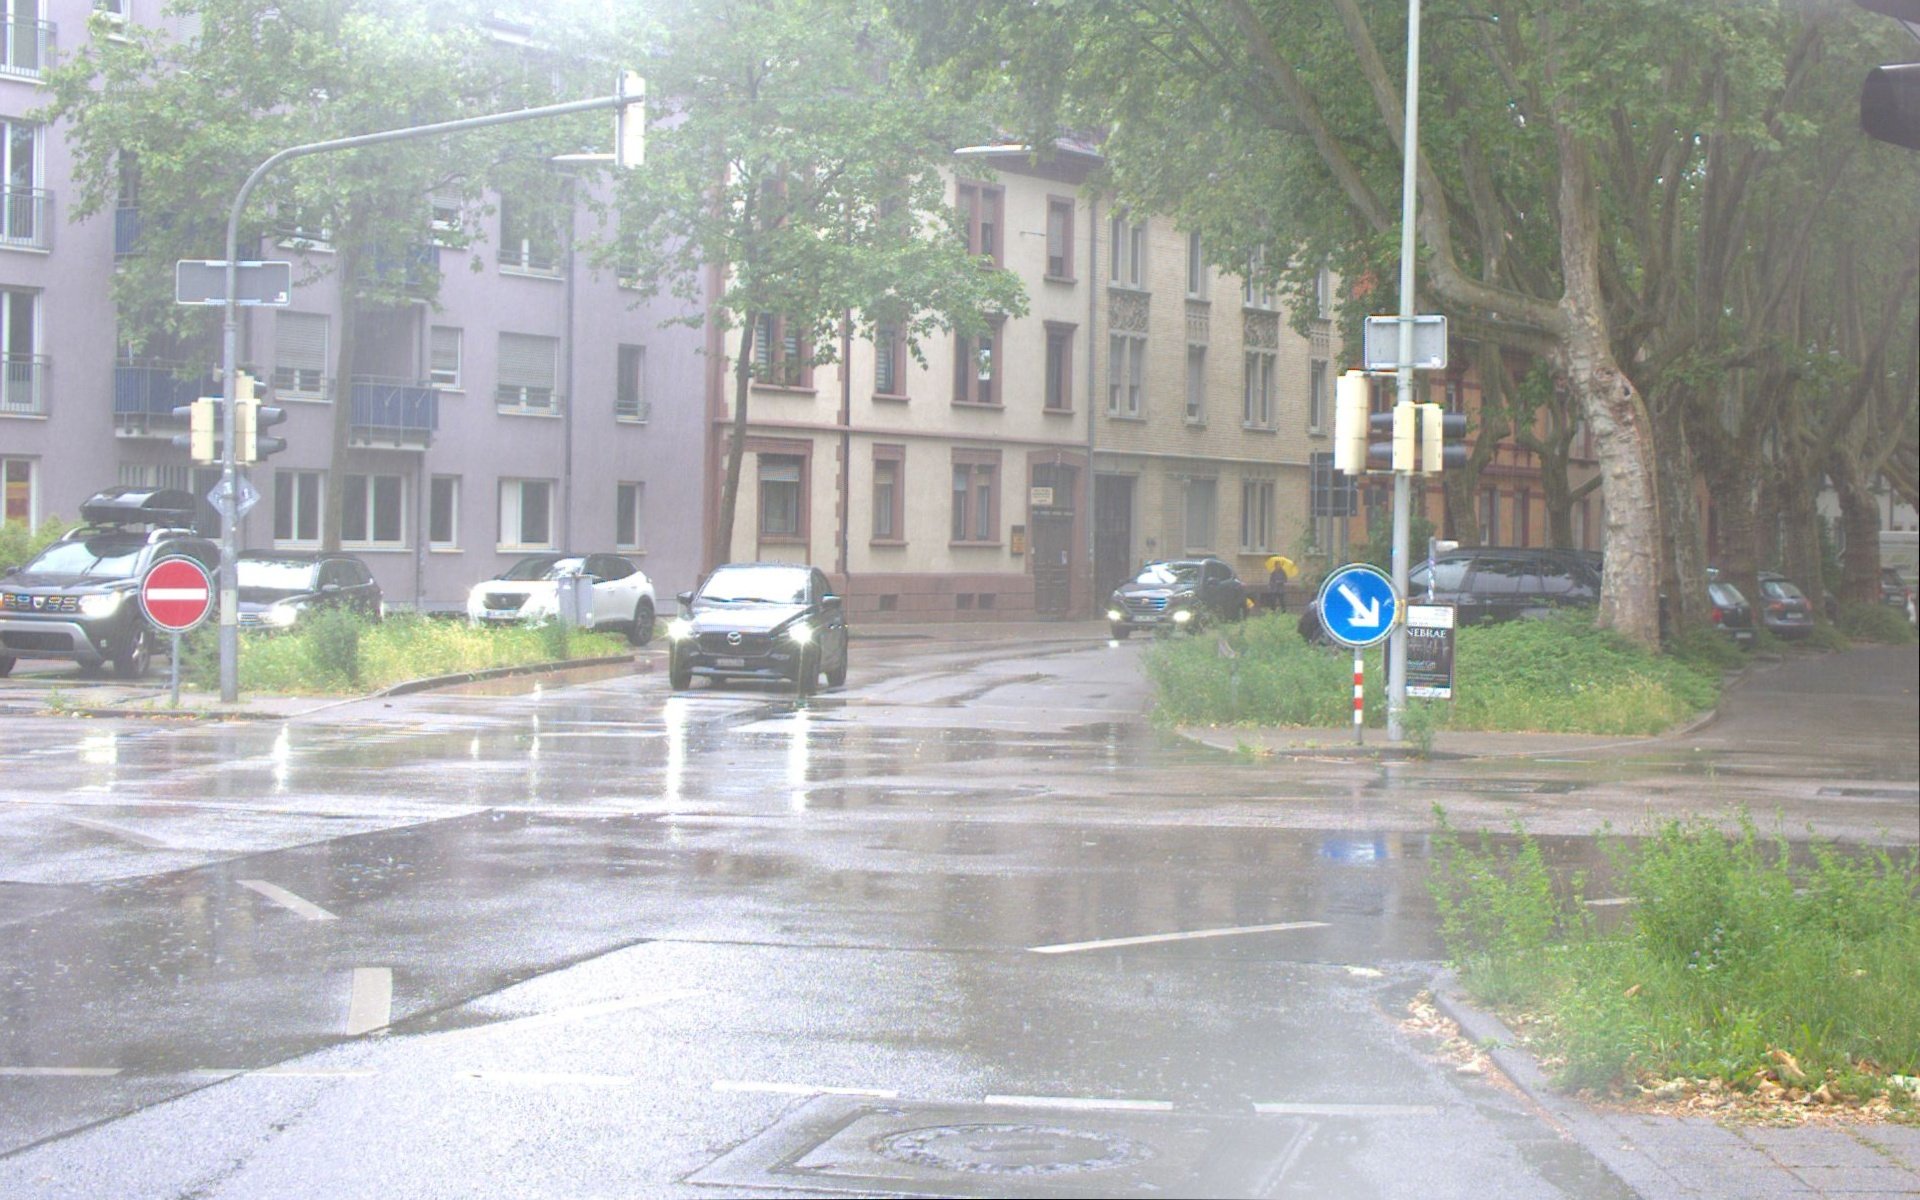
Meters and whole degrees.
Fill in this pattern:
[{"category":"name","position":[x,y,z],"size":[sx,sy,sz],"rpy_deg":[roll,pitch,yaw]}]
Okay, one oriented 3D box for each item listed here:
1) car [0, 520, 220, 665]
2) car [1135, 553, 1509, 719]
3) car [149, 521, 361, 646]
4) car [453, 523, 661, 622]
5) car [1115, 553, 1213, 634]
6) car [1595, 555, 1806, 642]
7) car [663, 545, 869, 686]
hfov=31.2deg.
[{"category":"car","position":[-9.751,-0.114,38.795],"size":[1.725,1.547,3.559],"rpy_deg":[-1,1,5]},{"category":"car","position":[3.495,0.337,33.000],"size":[3.480,1.518,1.519],"rpy_deg":[-1,1,9]},{"category":"car","position":[-9.156,-0.244,44.932],"size":[1.725,1.547,3.559],"rpy_deg":[-1,1,5]},{"category":"car","position":[-6.600,-0.475,56.704],"size":[1.678,1.547,4.194],"rpy_deg":[0,1,20]},{"category":"car","position":[4.157,-0.152,69.679],"size":[1.603,1.547,3.558],"rpy_deg":[-1,1,10]},{"category":"car","position":[14.133,-0.035,65.601],"size":[3.611,1.612,1.679],"rpy_deg":[0,1,28]},{"category":"car","position":[-2.232,0.149,40.461],"size":[1.603,1.547,3.558],"rpy_deg":[0,1,10]}]
